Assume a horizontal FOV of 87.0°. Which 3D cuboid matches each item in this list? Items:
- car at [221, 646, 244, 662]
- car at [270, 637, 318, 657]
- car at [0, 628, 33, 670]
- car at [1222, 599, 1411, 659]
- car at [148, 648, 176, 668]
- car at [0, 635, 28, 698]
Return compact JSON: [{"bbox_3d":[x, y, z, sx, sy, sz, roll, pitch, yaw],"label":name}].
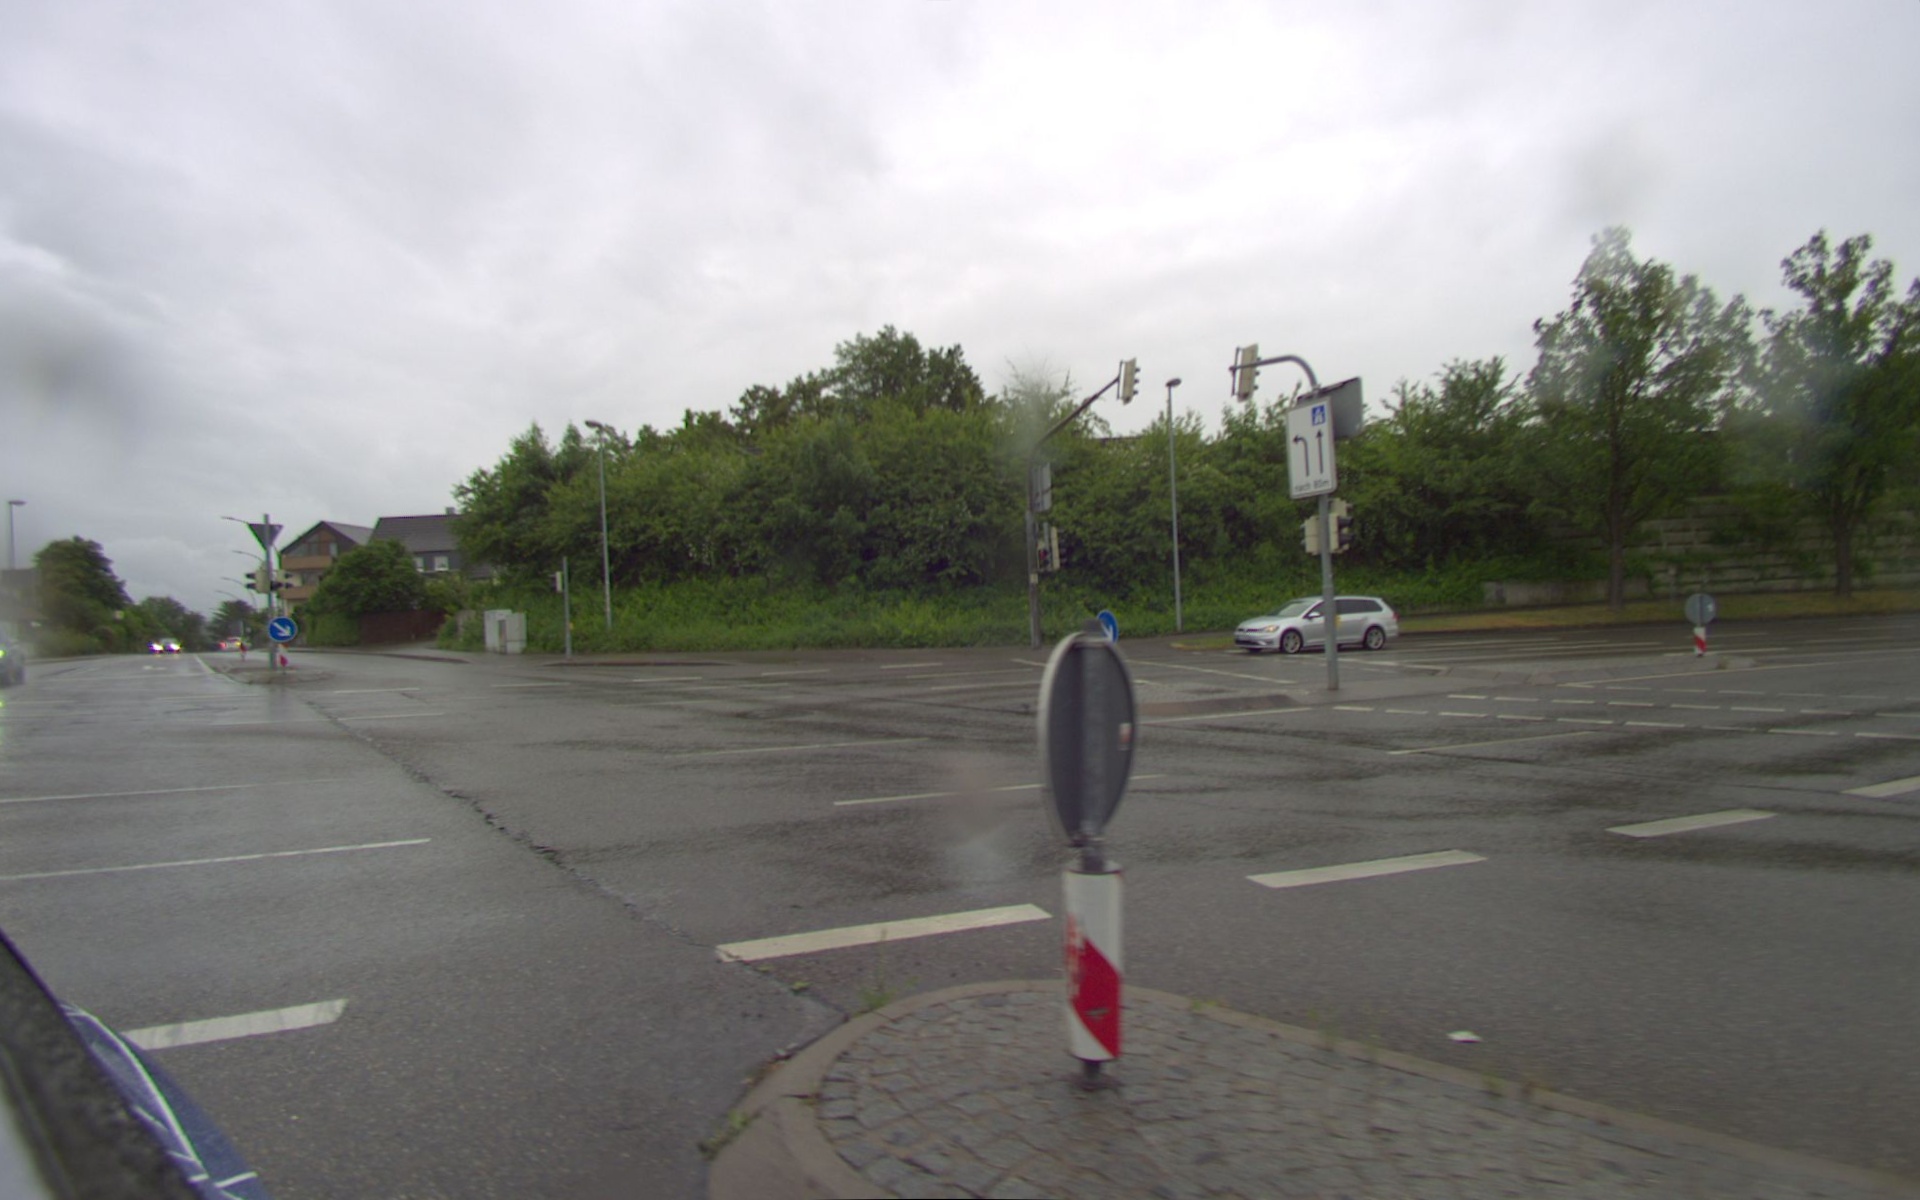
[{"bbox_3d":[-72.603,5.345,100.978,1.600,1.516,3.828,1,-2,-40],"label":"car"},{"bbox_3d":[-58.971,4.165,89.697,1.642,1.558,4.000,-2,0,-1],"label":"car"},{"bbox_3d":[-55.382,2.846,57.799,1.628,2.368,4.007,-2,-1,-9],"label":"car"},{"bbox_3d":[9.421,0.738,26.796,4.455,1.373,1.768,-1,0,-15],"label":"car"},{"bbox_3d":[-69.392,5.028,87.968,1.731,1.568,3.926,-2,0,-40],"label":"car"},{"bbox_3d":[-25.024,1.703,25.522,1.869,1.494,4.008,-1,-2,-37],"label":"car"}]
